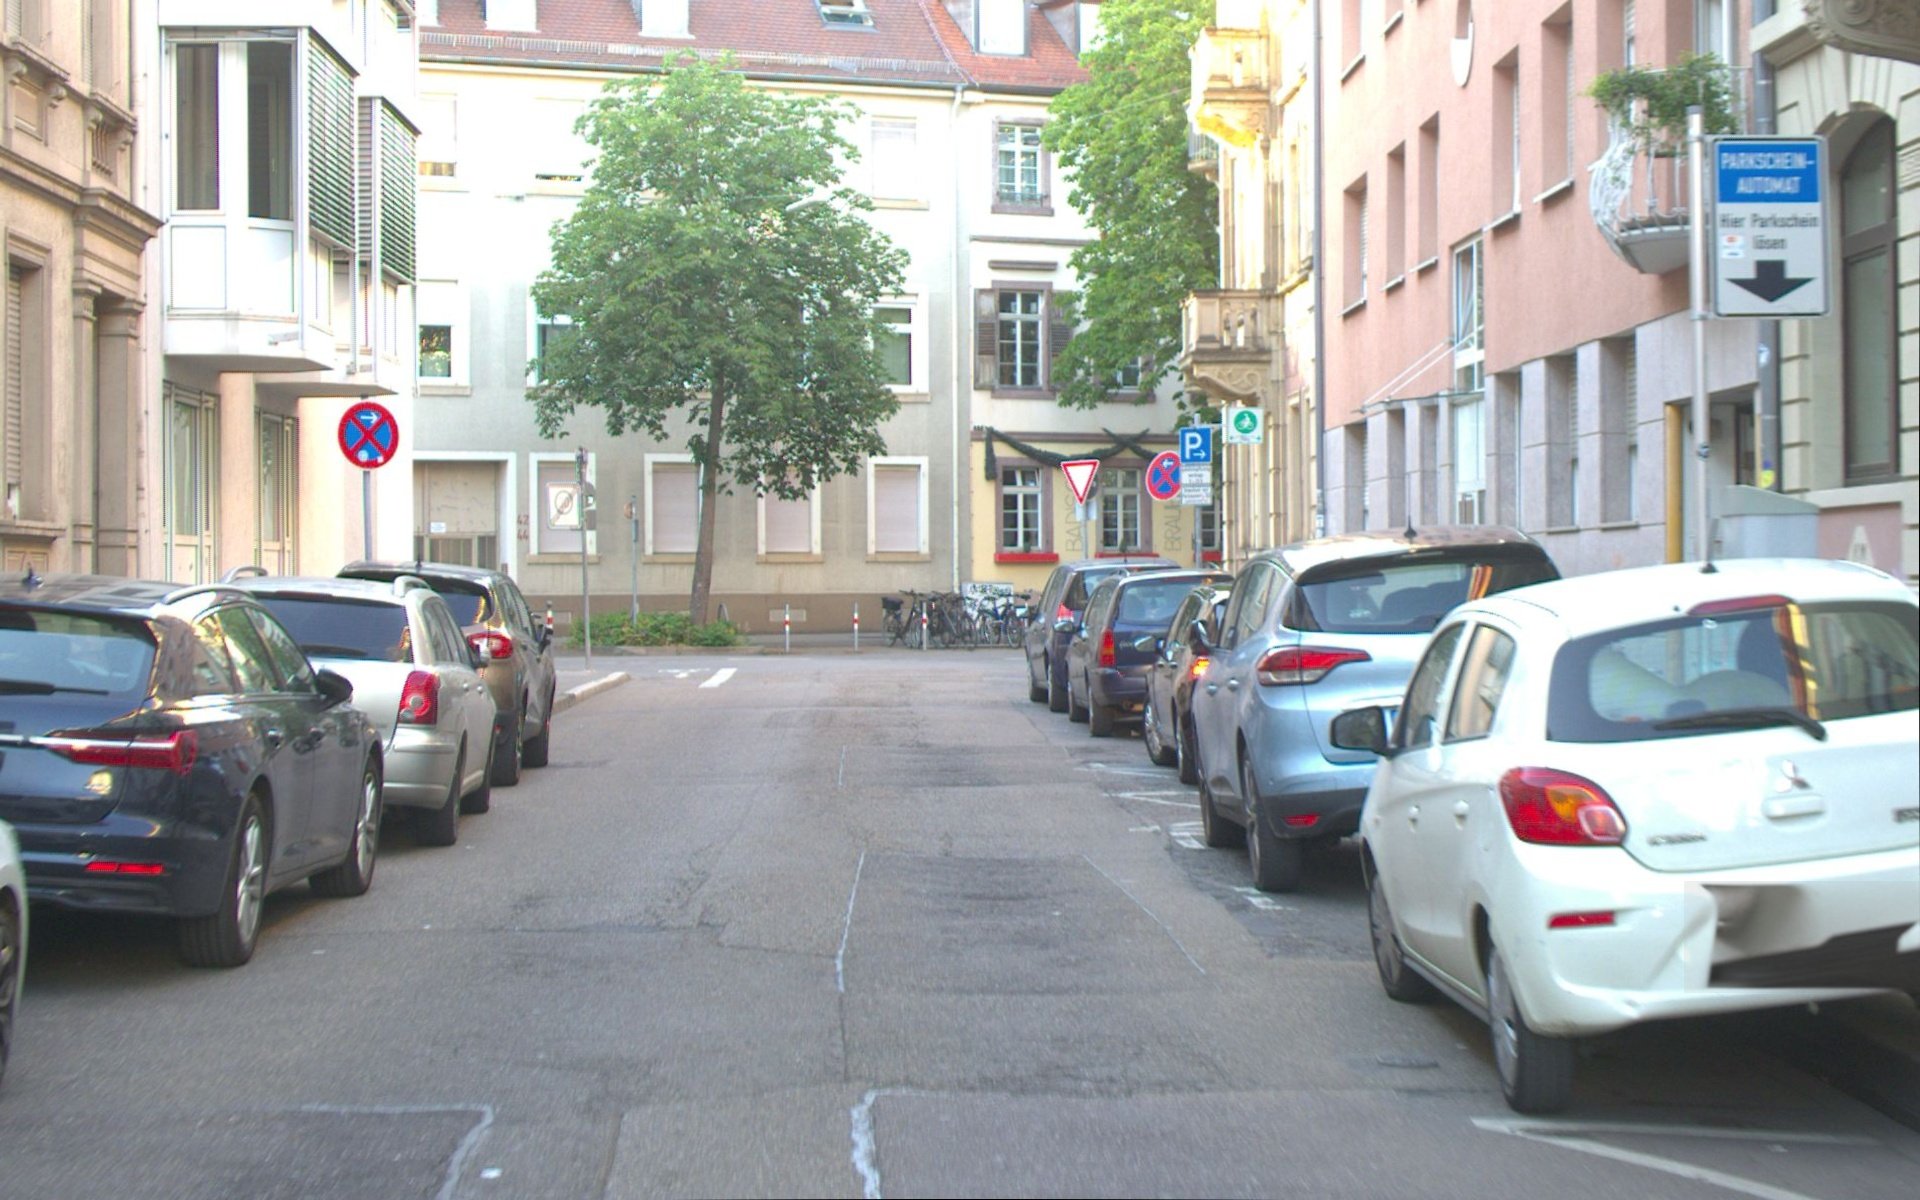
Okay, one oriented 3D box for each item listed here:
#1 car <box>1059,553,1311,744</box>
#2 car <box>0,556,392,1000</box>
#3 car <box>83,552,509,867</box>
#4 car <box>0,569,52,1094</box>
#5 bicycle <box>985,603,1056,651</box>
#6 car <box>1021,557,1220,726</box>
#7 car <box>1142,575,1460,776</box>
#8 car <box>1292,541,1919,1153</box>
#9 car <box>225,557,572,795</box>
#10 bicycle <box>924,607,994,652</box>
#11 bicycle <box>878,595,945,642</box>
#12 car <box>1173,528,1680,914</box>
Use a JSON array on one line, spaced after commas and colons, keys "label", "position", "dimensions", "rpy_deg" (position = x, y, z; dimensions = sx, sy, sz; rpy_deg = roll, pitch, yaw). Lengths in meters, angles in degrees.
[{"label": "car", "position": [2.087, 0.422, 33.023], "dimensions": [1.993, 1.703, 4.000], "rpy_deg": [-1, 0, -2]}, {"label": "car", "position": [-3.506, 0.609, 14.382], "dimensions": [1.614, 1.565, 4.304], "rpy_deg": [0, 1, -1]}, {"label": "car", "position": [-3.812, 0.558, 20.463], "dimensions": [1.993, 1.661, 4.410], "rpy_deg": [0, 0, -4]}, {"label": "car", "position": [-3.484, 0.673, 8.333], "dimensions": [1.630, 1.467, 3.754], "rpy_deg": [0, 1, -1]}, {"label": "bicycle", "position": [1.213, 0.537, 69.188], "dimensions": [0.518, 0.945, 1.725], "rpy_deg": [-1, 1, -34]}, {"label": "car", "position": [1.720, 0.415, 38.115], "dimensions": [1.993, 1.755, 4.000], "rpy_deg": [-1, 0, 0]}, {"label": "car", "position": [2.473, 0.559, 25.803], "dimensions": [1.993, 1.379, 3.706], "rpy_deg": [-1, -1, 0]}, {"label": "car", "position": [2.177, 0.622, 10.977], "dimensions": [1.662, 1.454, 3.759], "rpy_deg": [-6, 1, -1]}, {"label": "car", "position": [-4.190, 0.528, 26.263], "dimensions": [1.993, 1.657, 3.977], "rpy_deg": [-1, 0, 0]}, {"label": "bicycle", "position": [-0.024, 0.582, 68.532], "dimensions": [0.518, 0.891, 1.725], "rpy_deg": [0, 0, -34]}, {"label": "bicycle", "position": [-0.990, 0.387, 69.984], "dimensions": [0.518, 0.945, 1.725], "rpy_deg": [0, -1, -34]}, {"label": "car", "position": [2.217, 0.528, 17.445], "dimensions": [1.993, 1.726, 4.059], "rpy_deg": [0, 0, 0]}]
